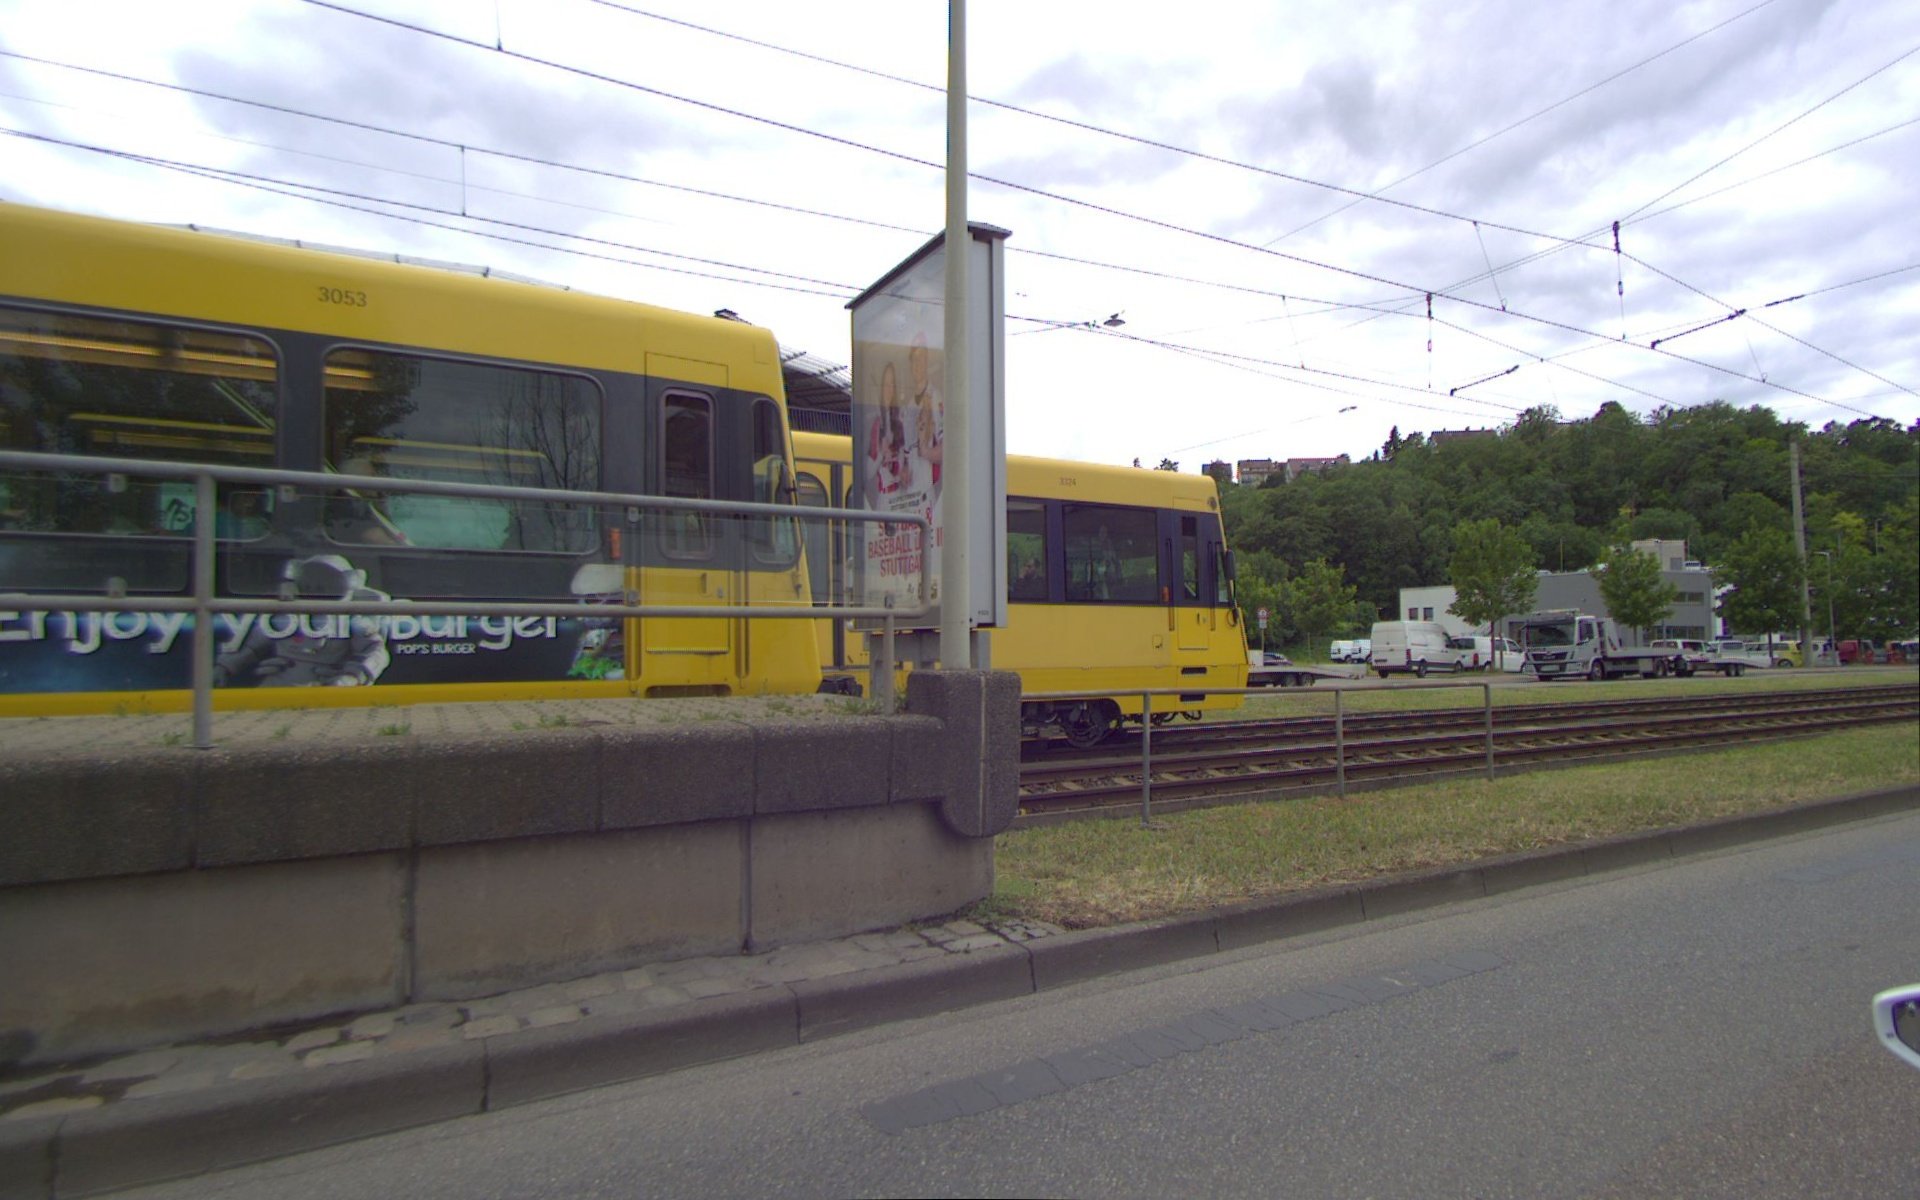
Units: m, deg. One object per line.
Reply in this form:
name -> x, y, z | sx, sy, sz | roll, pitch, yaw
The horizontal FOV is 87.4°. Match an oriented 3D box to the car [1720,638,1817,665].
car -> 53.133, 3.373, 66.107 | 1.976, 1.595, 4.578 | 5, -5, -27

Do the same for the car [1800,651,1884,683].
car -> 61.060, 4.610, 69.613 | 1.975, 2.039, 3.973 | 5, -5, -27

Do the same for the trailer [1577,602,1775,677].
trailer -> 31.784, 1.724, 44.397 | 10.661, 3.021, 2.880 | 1, -2, -30

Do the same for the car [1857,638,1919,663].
car -> 67.596, 3.640, 72.371 | 1.808, 1.728, 3.978 | 0, -2, -23

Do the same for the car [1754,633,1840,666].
car -> 55.941, 3.315, 67.222 | 1.975, 2.039, 3.973 | 5, -5, -27

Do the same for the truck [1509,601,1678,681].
truck -> 25.898, 1.647, 41.022 | 6.826, 3.029, 2.872 | 1, -2, -29

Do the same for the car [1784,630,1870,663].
car -> 58.892, 3.180, 68.293 | 1.975, 2.039, 3.973 | 5, -5, -27

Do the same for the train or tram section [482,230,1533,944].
train or tram section -> 1.085, -0.014, 9.625 | 10.075, 4.118, 2.958 | 0, -2, -30

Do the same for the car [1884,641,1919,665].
car -> 70.246, 3.852, 73.145 | 1.808, 1.728, 3.978 | 1, -3, -23

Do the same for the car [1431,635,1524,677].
car -> 26.232, 2.846, 50.915 | 4.203, 1.900, 2.148 | 5, -5, -28

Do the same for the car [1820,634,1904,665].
car -> 63.391, 3.469, 70.667 | 1.975, 2.039, 3.973 | 5, -5, -27

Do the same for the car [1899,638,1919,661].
car -> 72.467, 3.634, 74.274 | 1.808, 1.728, 3.978 | 0, -3, -23

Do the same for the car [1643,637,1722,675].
car -> 42.746, 3.328, 59.402 | 4.554, 1.922, 1.986 | 5, -5, -28

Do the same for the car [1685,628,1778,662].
car -> 48.370, 2.855, 63.112 | 1.963, 1.922, 4.607 | 3, -4, -7

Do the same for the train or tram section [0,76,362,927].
train or tram section -> -9.064, -0.451, 3.641 | 11.771, 4.018, 2.728 | 0, -2, -30

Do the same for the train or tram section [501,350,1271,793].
train or tram section -> -0.331, -0.113, 11.836 | 9.069, 3.845, 1.985 | 2, -3, -30

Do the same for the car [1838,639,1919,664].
car -> 65.517, 3.642, 71.640 | 1.808, 1.728, 3.979 | 1, -3, -23

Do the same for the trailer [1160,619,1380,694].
trailer -> 9.891, 1.776, 31.776 | 7.232, 2.155, 2.282 | 1, -5, -30

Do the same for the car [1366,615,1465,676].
car -> 21.373, 2.117, 47.042 | 5.392, 2.680, 1.987 | 2, -3, -39

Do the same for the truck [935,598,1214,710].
truck -> 3.322, 1.379, 27.910 | 7.929, 2.775, 2.274 | 0, -2, -31
